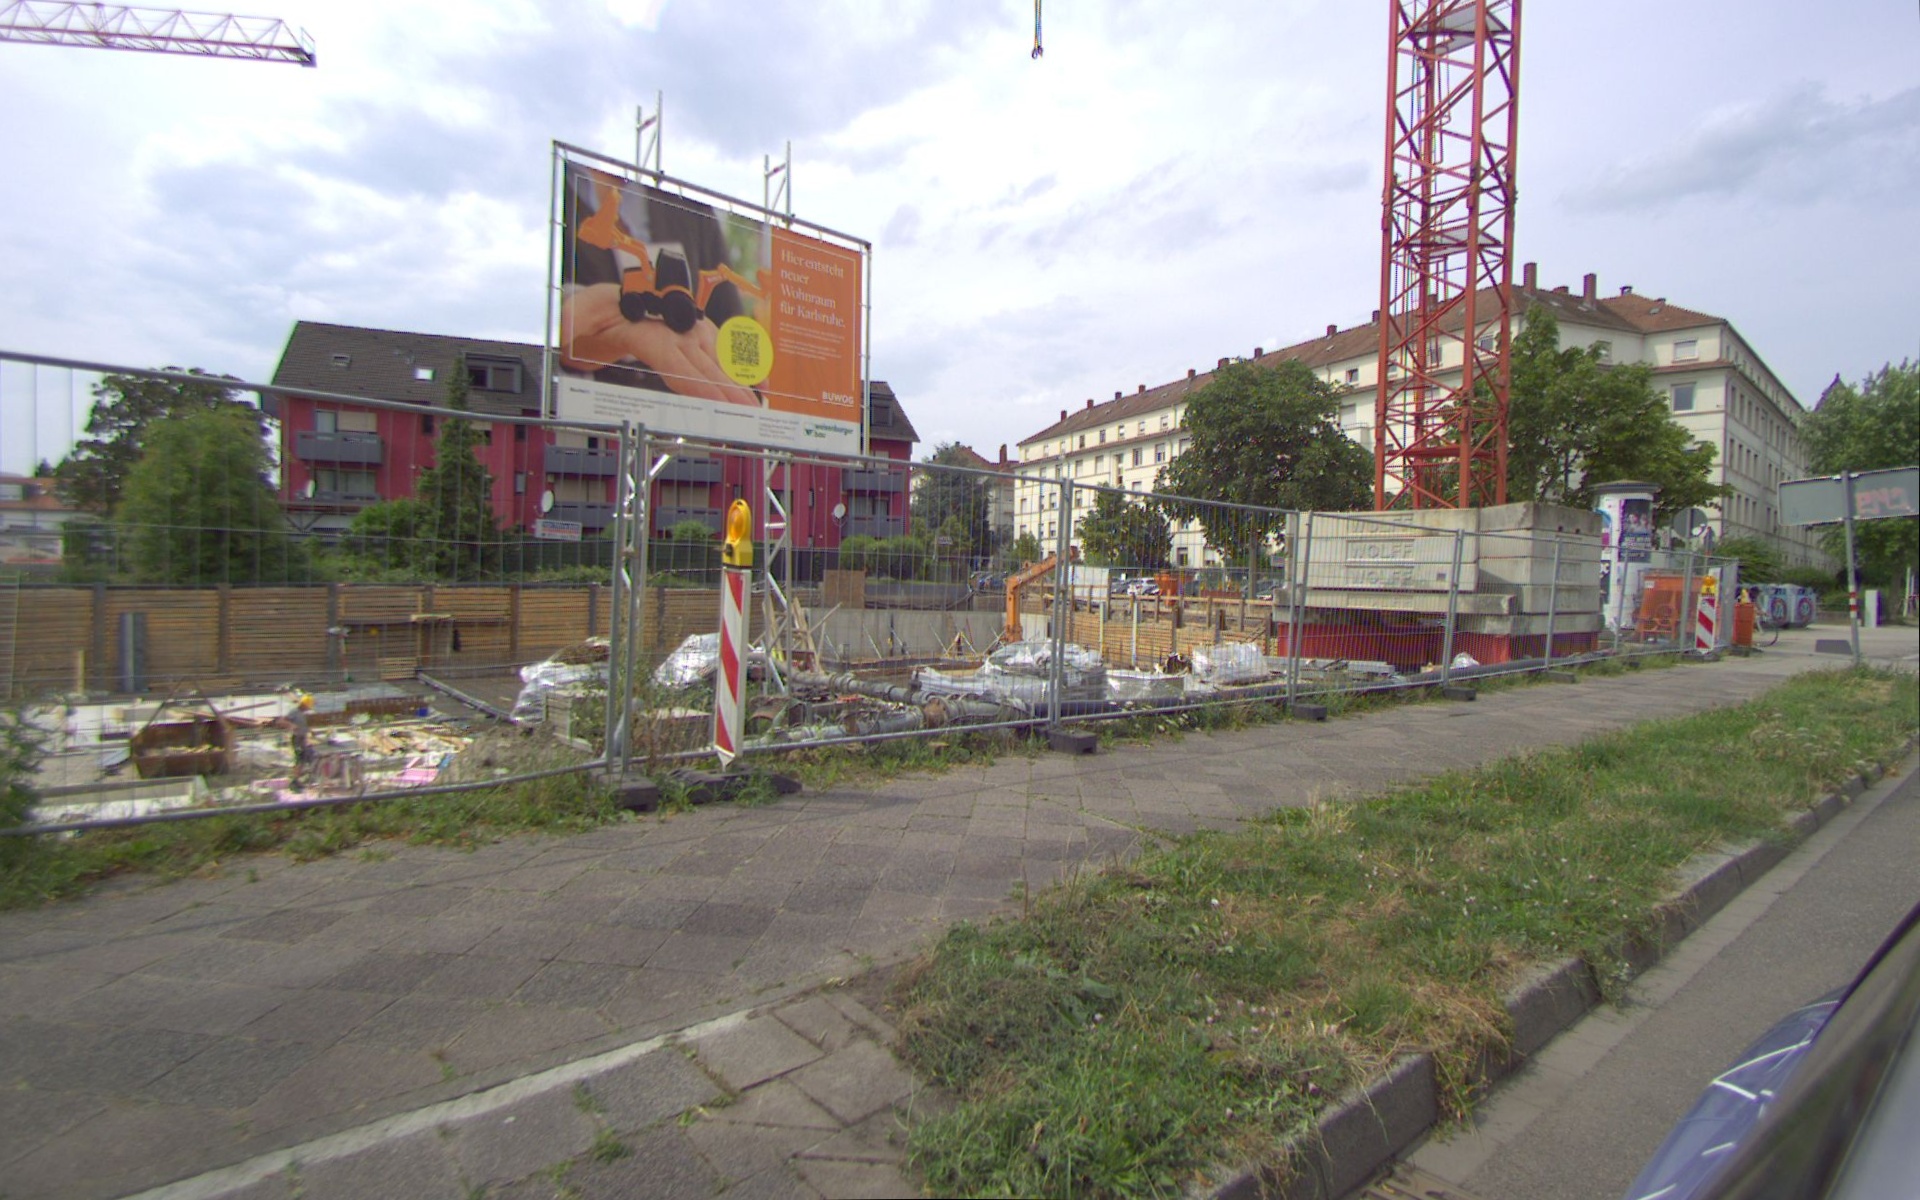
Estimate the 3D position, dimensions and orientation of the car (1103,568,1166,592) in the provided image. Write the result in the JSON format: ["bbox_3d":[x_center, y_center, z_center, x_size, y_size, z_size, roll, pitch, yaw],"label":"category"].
[{"bbox_3d":[12.089,-1.387,70.104,3.837,1.609,1.804,-1,0,-20],"label":"car"}]

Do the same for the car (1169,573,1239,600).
[{"bbox_3d":[15.310,-0.864,63.521,3.837,1.609,1.804,-1,0,-20],"label":"car"}]

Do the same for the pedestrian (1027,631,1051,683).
[{"bbox_3d":[2.816,2.034,36.087,0.706,1.743,0.846,1,3,-3],"label":"pedestrian"}]

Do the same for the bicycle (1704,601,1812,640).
[{"bbox_3d":[21.648,0.529,27.536,0.700,0.945,2.483,1,1,-9],"label":"bicycle"}]

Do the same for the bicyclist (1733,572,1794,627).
[{"bbox_3d":[21.695,-0.008,27.340,0.700,1.431,1.082,1,-1,-8],"label":"bicyclist"}]

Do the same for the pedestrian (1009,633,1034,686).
[{"bbox_3d":[2.140,2.057,35.341,0.706,1.743,0.846,1,3,-3],"label":"pedestrian"}]

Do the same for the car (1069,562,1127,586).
[{"bbox_3d":[10.185,-1.923,74.715,3.837,1.609,1.804,-1,0,-20],"label":"car"}]

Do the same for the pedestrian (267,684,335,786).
[{"bbox_3d":[-12.446,2.528,19.128,0.711,1.743,0.840,3,3,19],"label":"pedestrian"}]
